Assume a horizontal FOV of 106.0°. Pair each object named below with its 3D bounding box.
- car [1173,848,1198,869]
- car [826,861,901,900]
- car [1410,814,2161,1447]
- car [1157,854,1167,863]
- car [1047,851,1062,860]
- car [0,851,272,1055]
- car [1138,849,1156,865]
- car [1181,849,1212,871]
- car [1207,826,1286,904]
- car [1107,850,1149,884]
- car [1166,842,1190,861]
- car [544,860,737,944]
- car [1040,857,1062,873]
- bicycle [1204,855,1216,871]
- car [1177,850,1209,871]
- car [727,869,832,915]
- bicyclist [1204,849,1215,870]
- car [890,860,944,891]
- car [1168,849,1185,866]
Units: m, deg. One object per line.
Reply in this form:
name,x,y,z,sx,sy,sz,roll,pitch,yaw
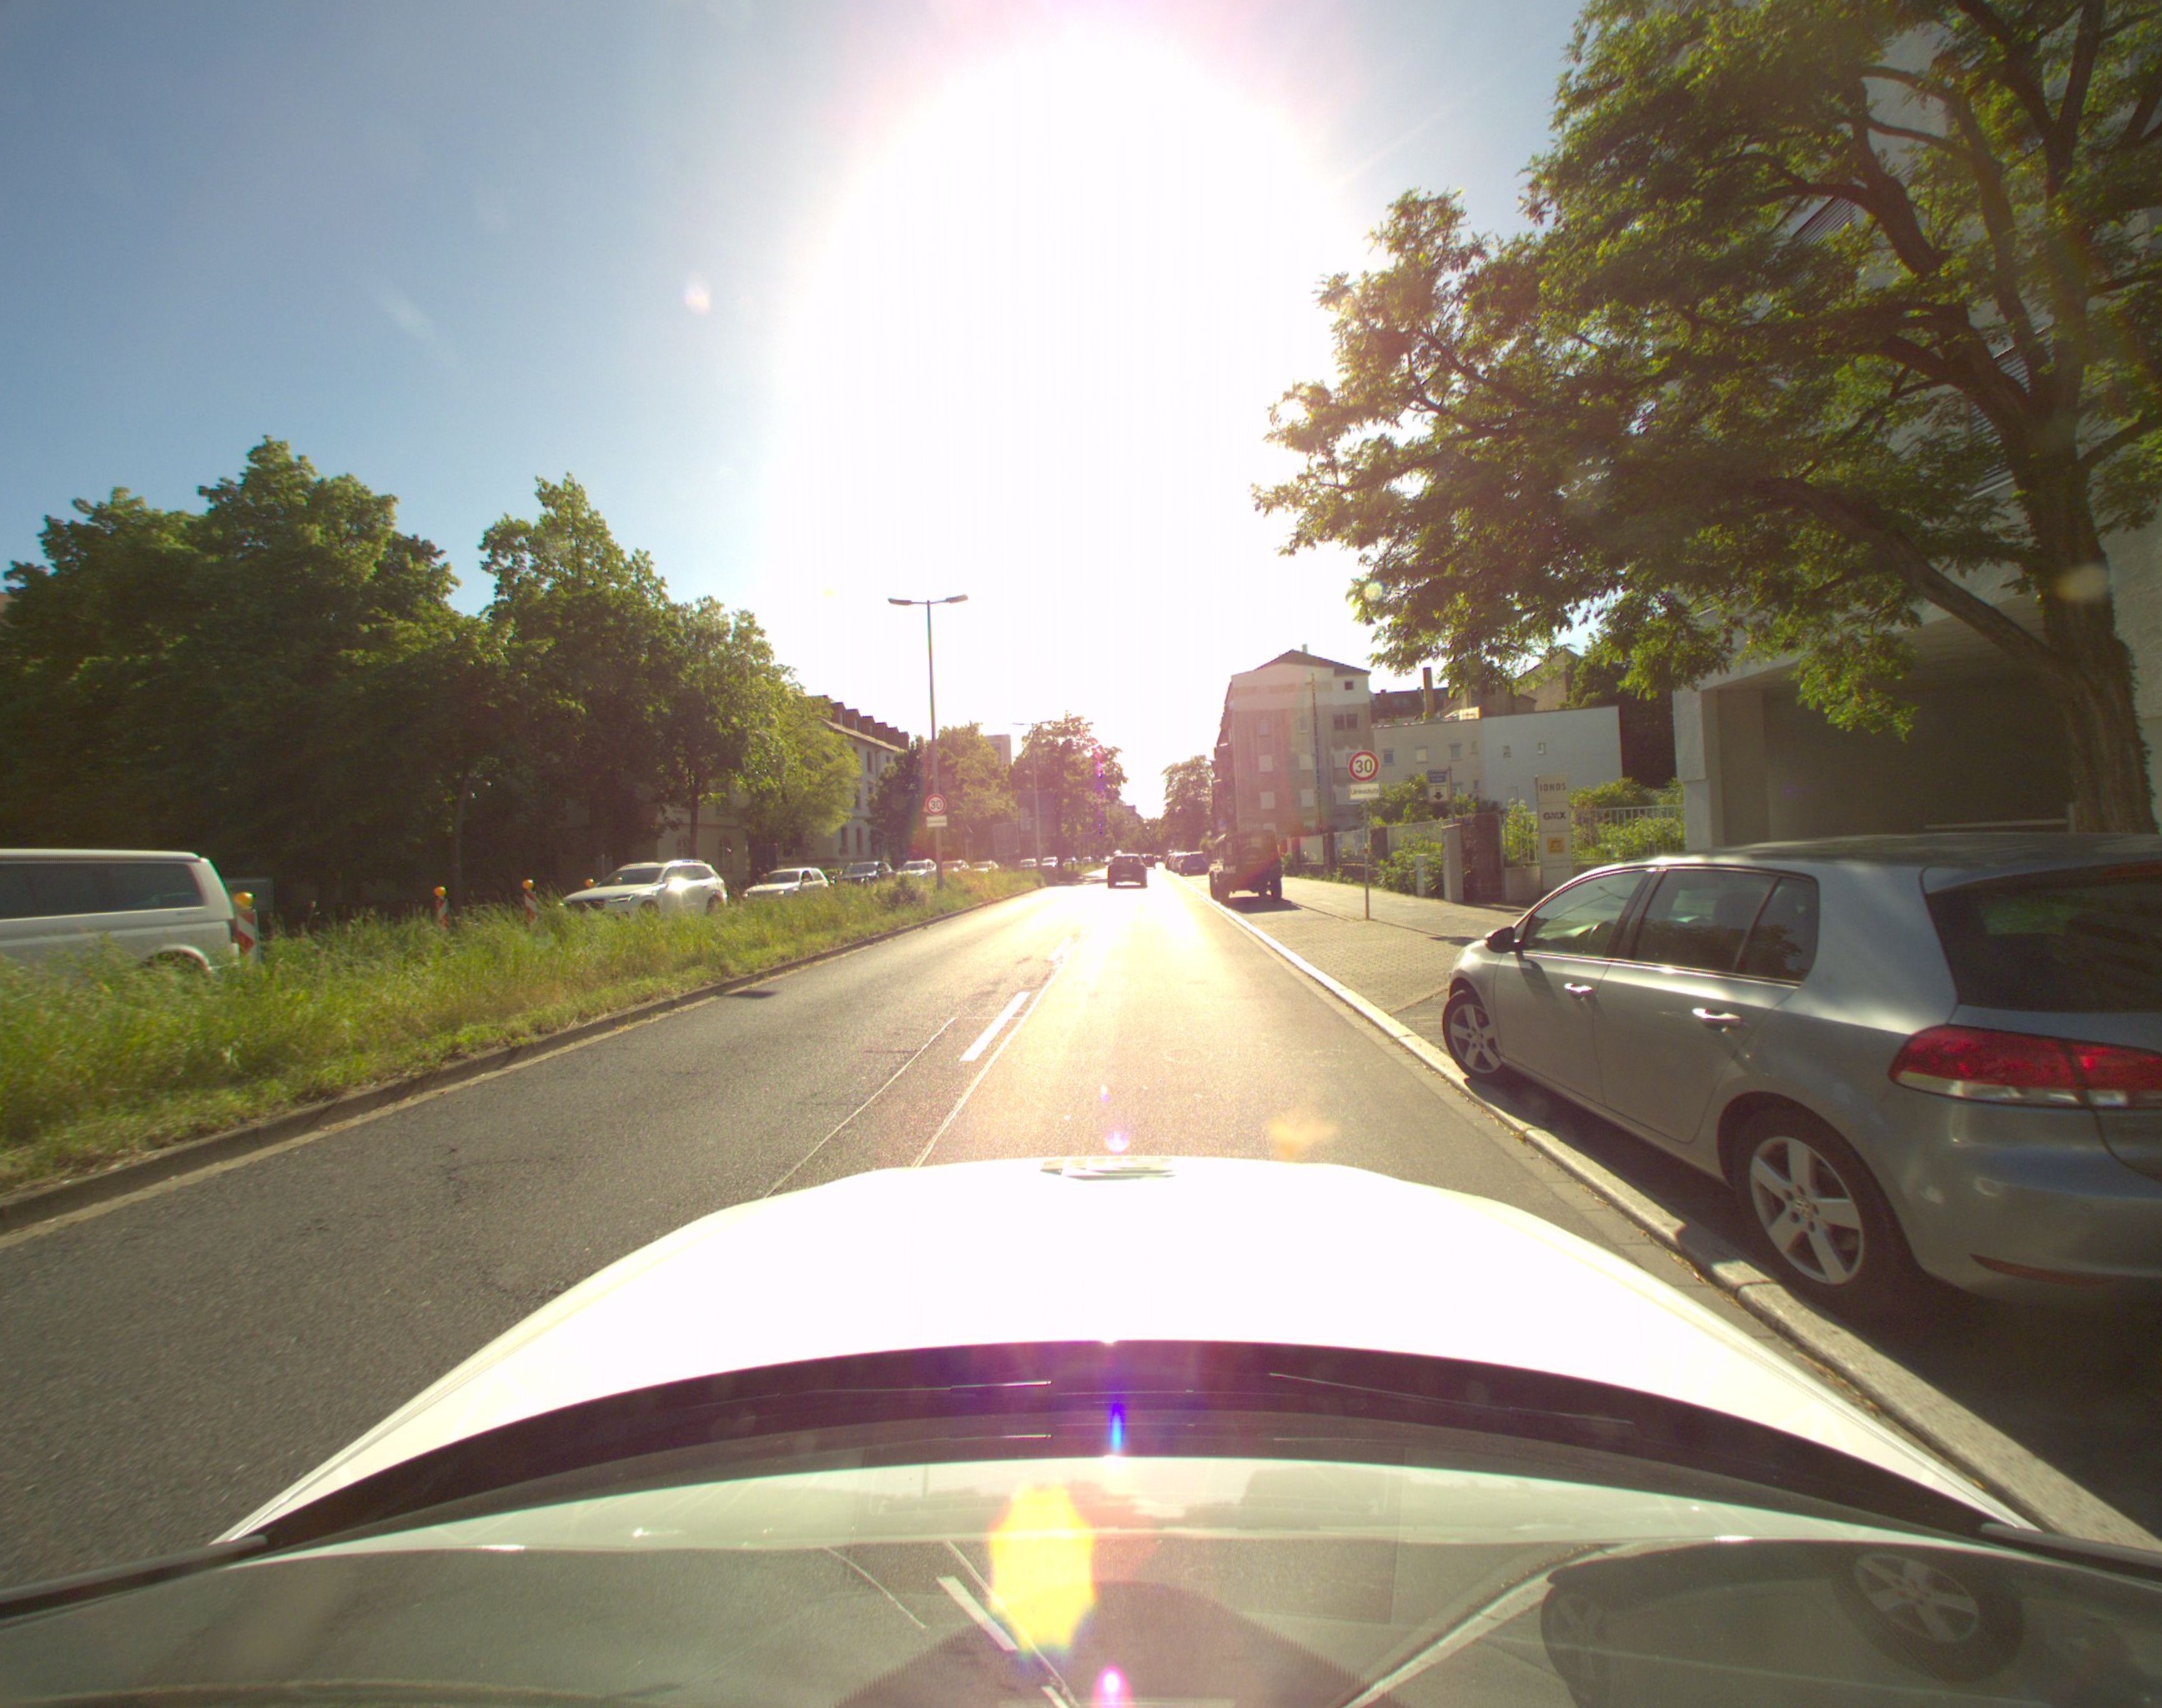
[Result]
car,8.257,0.357,64.571,1.601,1.446,3.662,-6,0,4
car,-9.555,1.113,36.136,1.788,1.519,4.449,-3,0,4
car,3.150,0.594,3.965,1.630,1.448,4.161,-3,1,4
car,16.437,0.941,166.165,1.911,1.640,4.005,-3,0,5
car,-5.239,0.330,161.950,1.979,1.662,3.979,-3,0,-15
car,-11.919,1.035,8.225,2.223,2.028,5.022,-3,0,4
car,6.723,0.317,82.847,1.784,1.520,3.854,-2,0,4
car,8.470,0.424,59.935,1.662,1.459,3.987,-6,0,1
car,4.889,0.310,24.646,1.653,2.013,4.782,-4,-1,4
car,2.197,0.617,39.077,1.887,1.519,4.002,-1,0,2
car,8.395,-0.221,70.657,1.662,1.519,3.662,-3,0,2
car,-10.776,1.077,20.471,1.788,1.743,5.037,-3,0,4
car,-3.326,1.227,90.869,1.892,1.626,4.541,-4,0,4
bicycle,10.237,0.680,64.718,0.737,1.219,1.963,-5,-1,7
car,7.553,0.420,55.186,1.661,1.182,3.904,-6,0,3
car,-10.365,1.269,28.359,1.788,1.351,4.262,-3,0,4
bicyclist,10.205,0.450,64.644,0.738,1.580,1.102,-2,1,6
car,-8.987,1.138,44.932,1.788,1.519,4.262,-3,0,4
car,11.103,0.355,94.392,1.809,1.844,4.373,-3,0,7
